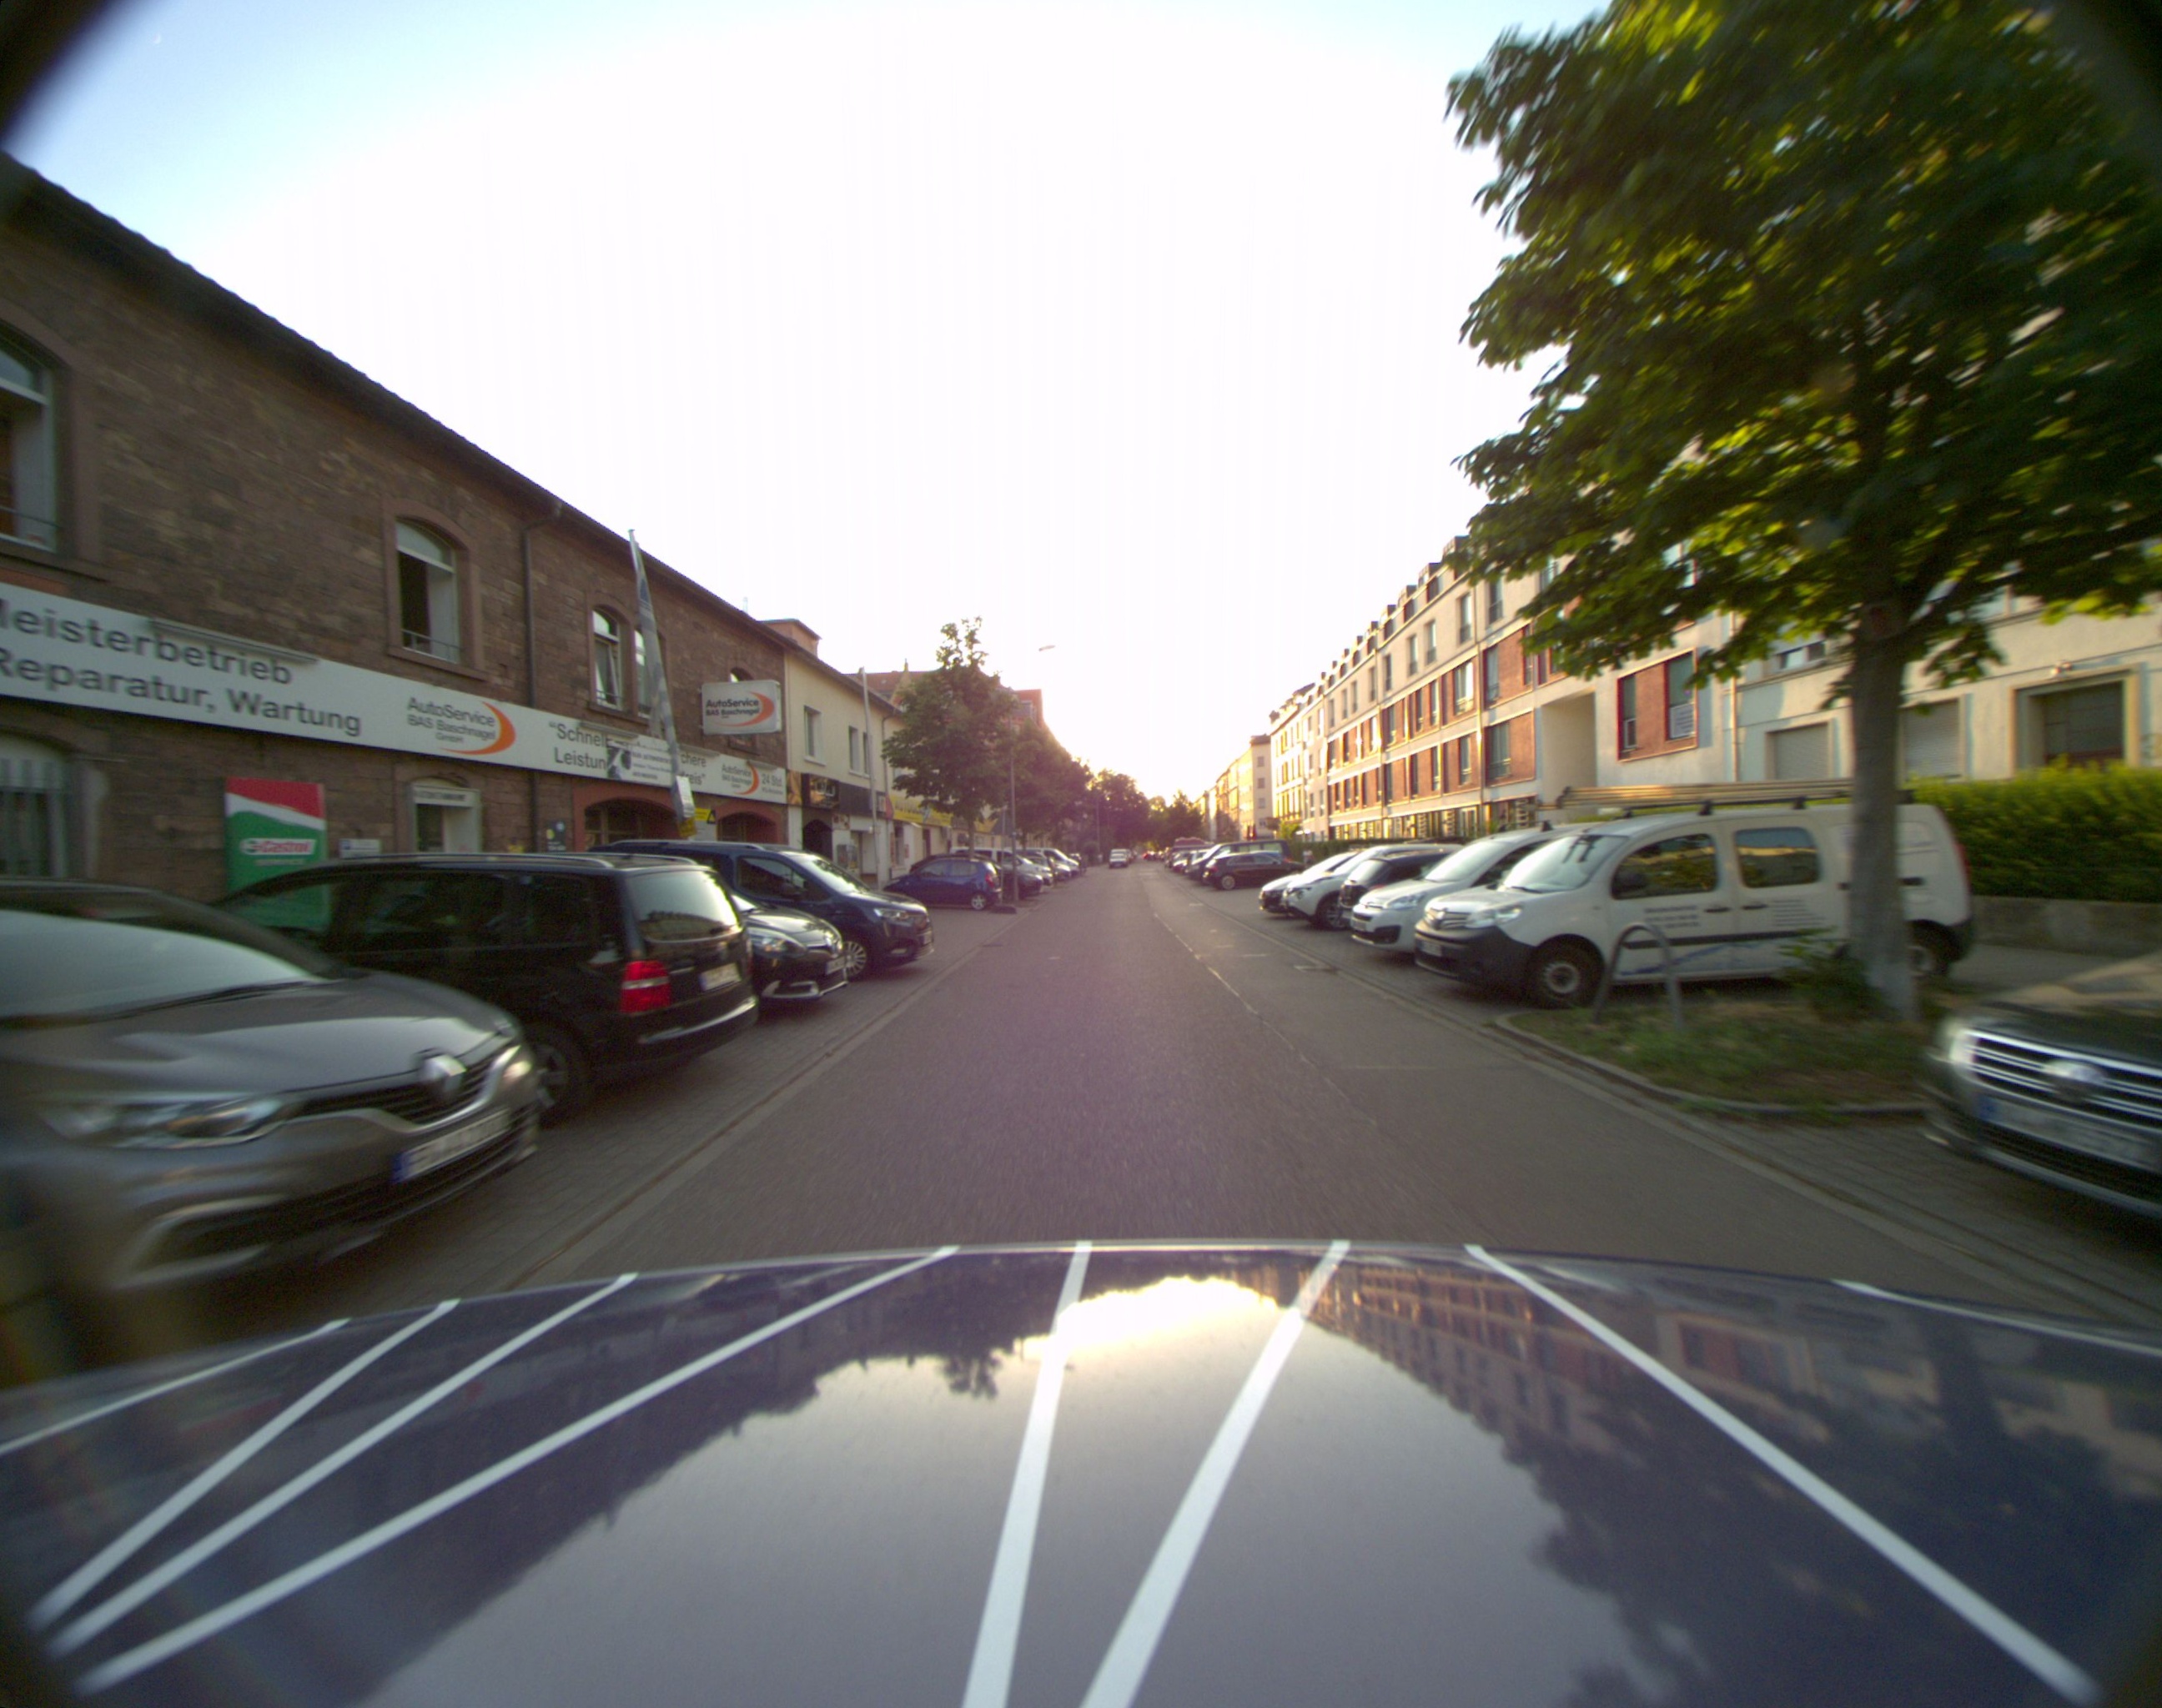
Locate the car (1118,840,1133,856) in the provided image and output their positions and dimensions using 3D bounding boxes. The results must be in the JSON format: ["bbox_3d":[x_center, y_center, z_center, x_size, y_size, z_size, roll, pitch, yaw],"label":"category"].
[{"bbox_3d":[6.019,-0.801,102.860,1.998,2.002,4.000,-2,1,2],"label":"car"}]

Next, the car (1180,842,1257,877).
[{"bbox_3d":[8.183,0.323,45.464,4.188,1.885,1.897,-2,1,-1],"label":"car"}]

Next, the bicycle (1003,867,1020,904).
[{"bbox_3d":[-2.352,1.052,25.930,0.309,1.185,1.762,-2,1,2],"label":"bicycle"}]

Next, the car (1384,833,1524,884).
[{"bbox_3d":[13.236,0.151,27.156,3.998,1.625,1.999,-2,1,-2],"label":"car"}]

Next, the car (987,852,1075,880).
[{"bbox_3d":[-2.793,0.684,43.098,4.732,1.487,2.000,0,1,3],"label":"car"}]

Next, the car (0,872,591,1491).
[{"bbox_3d":[-4.472,0.943,2.905,3.955,1.556,1.820,-2,1,1],"label":"car"}]

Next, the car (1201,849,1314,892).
[{"bbox_3d":[7.138,0.642,30.971,4.149,1.408,1.738,-4,1,-1],"label":"car"}]

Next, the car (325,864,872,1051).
[{"bbox_3d":[-4.692,0.954,7.928,4.425,1.565,1.982,2,0,1],"label":"car"}]

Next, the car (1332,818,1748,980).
[{"bbox_3d":[6.003,0.580,10.457,4.431,1.791,1.944,-3,0,5],"label":"car"}]

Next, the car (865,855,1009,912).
[{"bbox_3d":[-4.369,0.882,23.482,3.996,1.537,1.845,2,1,3],"label":"car"}]

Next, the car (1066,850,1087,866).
[{"bbox_3d":[-0.434,0.377,77.186,1.799,1.515,4.000,-2,1,2],"label":"car"}]

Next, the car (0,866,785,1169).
[{"bbox_3d":[-4.446,0.951,5.307,3.997,1.609,1.895,1,1,1],"label":"car"}]

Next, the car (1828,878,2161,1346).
[{"bbox_3d":[5.663,0.774,2.528,4.336,1.397,1.852,-4,1,4],"label":"car"}]

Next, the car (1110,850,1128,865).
[{"bbox_3d":[3.848,0.317,76.663,1.732,1.367,3.763,-2,1,2],"label":"car"}]

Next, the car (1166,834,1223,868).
[{"bbox_3d":[9.108,-0.225,61.182,4.411,2.542,1.932,-2,1,5],"label":"car"}]

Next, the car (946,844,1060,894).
[{"bbox_3d":[-3.361,0.624,33.231,4.596,1.851,2.012,3,1,5],"label":"car"}]

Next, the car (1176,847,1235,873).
[{"bbox_3d":[8.703,0.427,53.343,3.894,1.608,1.700,-3,1,6],"label":"car"}]

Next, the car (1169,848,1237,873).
[{"bbox_3d":[8.106,0.430,50.777,4.272,1.485,1.789,-2,1,5],"label":"car"}]

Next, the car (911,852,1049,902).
[{"bbox_3d":[-3.669,0.808,28.126,4.704,1.622,2.001,2,1,5],"label":"car"}]

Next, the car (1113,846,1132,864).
[{"bbox_3d":[4.437,0.065,82.397,1.939,1.893,4.055,-2,1,2],"label":"car"}]

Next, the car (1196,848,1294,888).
[{"bbox_3d":[7.104,0.582,33.162,3.893,1.484,1.654,-3,1,1],"label":"car"}]

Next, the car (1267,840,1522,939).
[{"bbox_3d":[6.076,0.672,15.135,4.253,1.611,1.813,-3,0,3],"label":"car"}]

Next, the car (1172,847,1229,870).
[{"bbox_3d":[8.773,0.323,56.016,3.957,1.531,1.756,-2,1,6],"label":"car"}]

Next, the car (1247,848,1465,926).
[{"bbox_3d":[6.371,0.732,17.981,4.419,1.443,1.827,-4,1,1],"label":"car"}]

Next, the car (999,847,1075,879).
[{"bbox_3d":[-2.628,0.527,45.921,4.300,1.847,2.001,1,1,7],"label":"car"}]

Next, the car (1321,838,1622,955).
[{"bbox_3d":[6.315,0.666,12.647,3.997,1.476,1.756,-5,0,2],"label":"car"}]

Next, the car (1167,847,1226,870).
[{"bbox_3d":[8.842,0.344,58.371,4.346,1.515,1.706,-3,1,4],"label":"car"}]

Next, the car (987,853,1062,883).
[{"bbox_3d":[-2.961,0.708,40.421,3.794,1.488,1.681,1,1,2],"label":"car"}]

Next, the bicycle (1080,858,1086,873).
[{"bbox_3d":[0.133,0.835,55.319,0.357,1.018,1.972,-2,1,2],"label":"bicycle"}]

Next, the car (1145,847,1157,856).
[{"bbox_3d":[11.672,-0.359,126.814,1.762,1.478,3.784,0,1,2],"label":"car"}]

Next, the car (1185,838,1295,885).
[{"bbox_3d":[7.437,0.339,35.973,4.865,2.043,2.001,-2,0,6],"label":"car"}]

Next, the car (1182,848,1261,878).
[{"bbox_3d":[7.953,0.486,43.297,3.999,1.580,2.052,-1,1,-5],"label":"car"}]

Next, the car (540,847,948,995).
[{"bbox_3d":[-4.483,0.855,10.687,4.798,1.743,2.017,2,0,2],"label":"car"}]

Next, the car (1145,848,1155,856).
[{"bbox_3d":[14.540,-0.454,160.738,1.890,1.513,4.001,-2,1,4],"label":"car"}]

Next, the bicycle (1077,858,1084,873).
[{"bbox_3d":[-0.036,0.816,53.270,0.357,1.018,1.785,-2,1,2],"label":"bicycle"}]

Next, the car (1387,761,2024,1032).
[{"bbox_3d":[5.800,0.418,7.680,4.522,2.058,2.001,-5,0,6],"label":"car"}]

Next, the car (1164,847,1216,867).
[{"bbox_3d":[9.064,0.252,63.596,3.988,1.408,1.804,-3,1,-2],"label":"car"}]

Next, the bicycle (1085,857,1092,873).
[{"bbox_3d":[0.540,0.796,55.302,0.357,1.093,1.972,-2,1,2],"label":"bicycle"}]

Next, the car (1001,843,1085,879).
[{"bbox_3d":[-2.412,0.434,48.576,4.970,2.089,2.151,-2,2,8],"label":"car"}]
